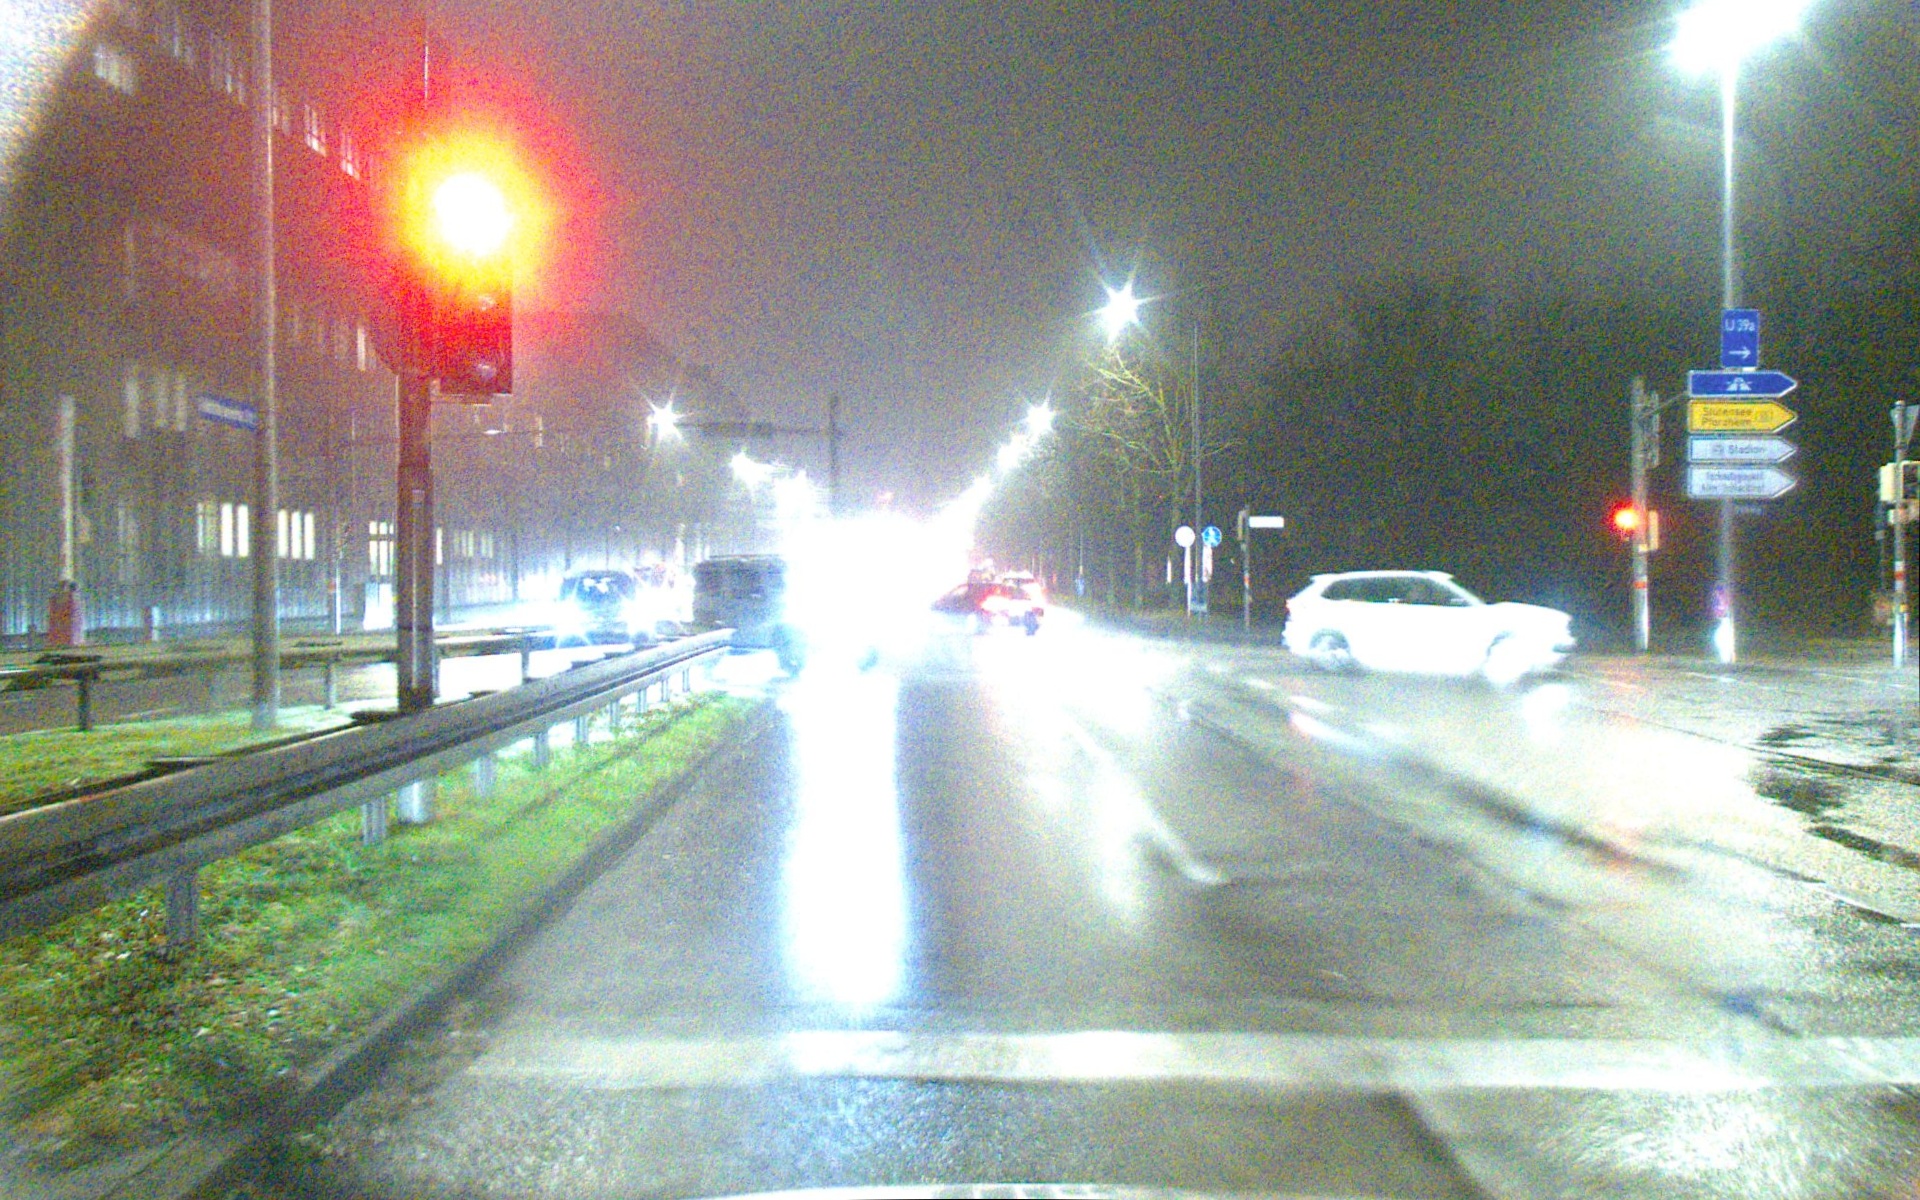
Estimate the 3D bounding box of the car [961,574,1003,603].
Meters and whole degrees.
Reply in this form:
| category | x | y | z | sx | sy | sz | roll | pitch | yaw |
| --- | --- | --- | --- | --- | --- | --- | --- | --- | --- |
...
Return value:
| category | x | y | z | sx | sy | sz | roll | pitch | yaw |
| --- | --- | --- | --- | --- | --- | --- | --- | --- | --- |
| car | 1.188 | -0.611 | 92.648 | 2.050 | 1.572 | 4.304 | 0 | 0 | -4 |

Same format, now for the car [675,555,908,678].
| category | x | y | z | sx | sy | sz | roll | pitch | yaw |
| --- | --- | --- | --- | --- | --- | --- | --- | --- | --- |
| car | -2.665 | 0.242 | 25.644 | 1.709 | 1.764 | 3.705 | 0 | 0 | -43 |

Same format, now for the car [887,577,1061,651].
| category | x | y | z | sx | sy | sz | roll | pitch | yaw |
| --- | --- | --- | --- | --- | --- | --- | --- | --- | --- |
| car | 0.395 | 0.345 | 41.840 | 4.202 | 1.816 | 2.046 | 0 | 0 | 6 |

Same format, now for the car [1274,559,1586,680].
| category | x | y | z | sx | sy | sz | roll | pitch | yaw |
| --- | --- | --- | --- | --- | --- | --- | --- | --- | --- |
| car | 7.124 | 0.273 | 25.065 | 4.358 | 1.700 | 1.839 | 0 | 0 | 23 |

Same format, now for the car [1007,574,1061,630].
| category | x | y | z | sx | sy | sz | roll | pitch | yaw |
| --- | --- | --- | --- | --- | --- | --- | --- | --- | --- |
| car | 2.825 | 0.072 | 63.116 | 1.996 | 2.049 | 4.308 | 0 | 0 | 2 |

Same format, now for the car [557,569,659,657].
| category | x | y | z | sx | sy | sz | roll | pitch | yaw |
| --- | --- | --- | --- | --- | --- | --- | --- | --- | --- |
| car | -7.310 | 0.253 | 34.222 | 1.919 | 1.702 | 4.402 | 0 | 0 | -13 |

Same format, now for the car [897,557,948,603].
| category | x | y | z | sx | sy | sz | roll | pitch | yaw |
| --- | --- | --- | --- | --- | --- | --- | --- | --- | --- |
| car | -1.933 | -0.975 | 83.628 | 2.393 | 2.232 | 5.075 | 0 | 0 | -4 |

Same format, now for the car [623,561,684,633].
| category | x | y | z | sx | sy | sz | roll | pitch | yaw |
| --- | --- | --- | --- | --- | --- | --- | --- | --- | --- |
| car | -9.165 | -0.079 | 49.252 | 1.669 | 2.049 | 3.556 | 0 | 0 | -12 |
